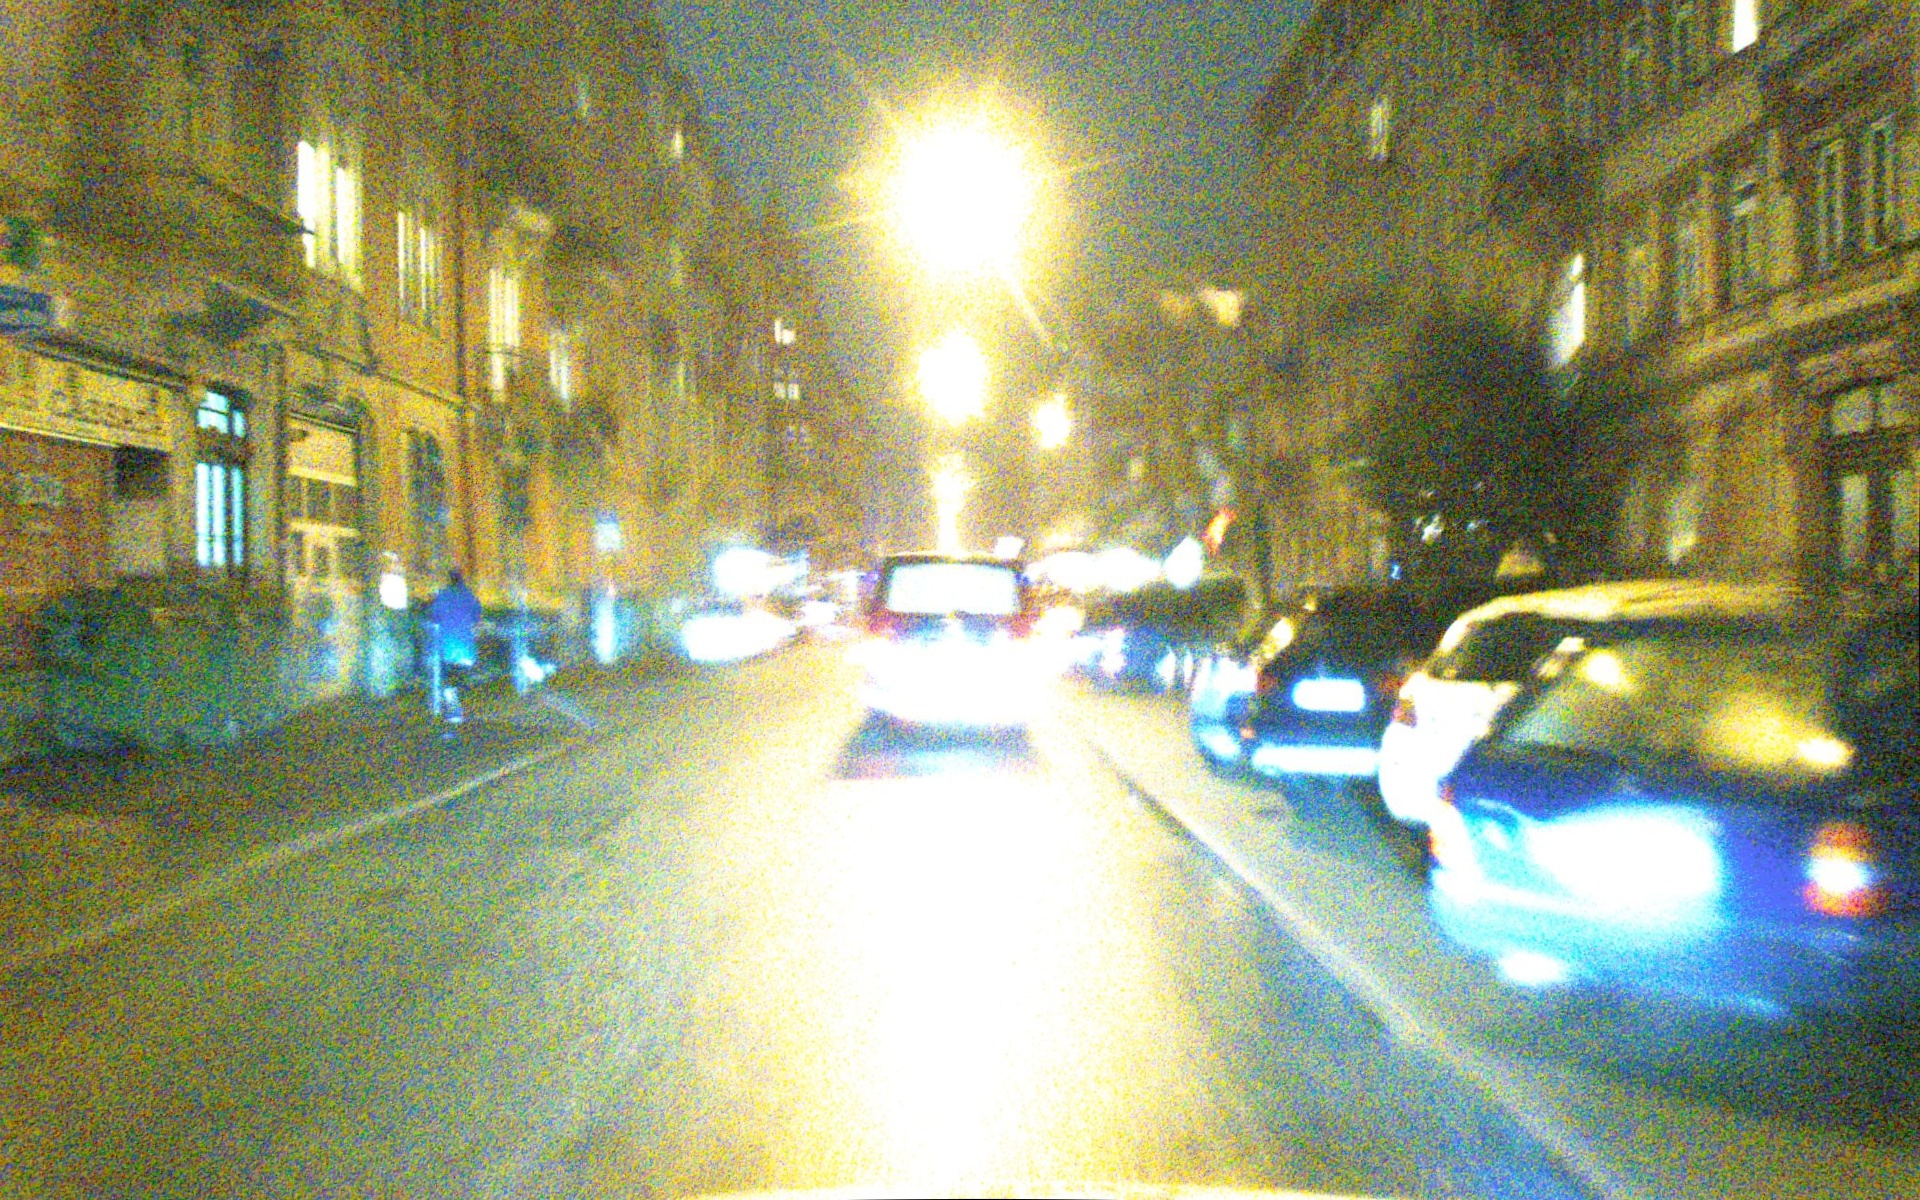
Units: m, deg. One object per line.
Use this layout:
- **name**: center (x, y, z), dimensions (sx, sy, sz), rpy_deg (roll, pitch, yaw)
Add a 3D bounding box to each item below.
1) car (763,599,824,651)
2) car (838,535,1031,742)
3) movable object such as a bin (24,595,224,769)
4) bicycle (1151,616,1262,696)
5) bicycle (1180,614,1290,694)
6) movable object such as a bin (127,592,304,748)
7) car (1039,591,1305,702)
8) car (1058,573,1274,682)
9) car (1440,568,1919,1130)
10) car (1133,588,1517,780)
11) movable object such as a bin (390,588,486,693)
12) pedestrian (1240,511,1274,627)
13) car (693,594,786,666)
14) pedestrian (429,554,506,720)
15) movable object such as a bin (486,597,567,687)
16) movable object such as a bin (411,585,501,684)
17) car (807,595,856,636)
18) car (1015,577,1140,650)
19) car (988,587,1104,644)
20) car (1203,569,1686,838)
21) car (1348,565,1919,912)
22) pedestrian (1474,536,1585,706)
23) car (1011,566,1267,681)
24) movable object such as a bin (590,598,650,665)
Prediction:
- **car**: center (-5.260, 0.766, 52.597), dimensions (1.777, 1.585, 4.073), rpy_deg (1, 0, -4)
- **car**: center (-0.274, 0.419, 18.711), dimensions (1.953, 2.086, 3.999), rpy_deg (0, -1, -1)
- **movable object such as a bin**: center (-7.340, 0.693, 14.585), dimensions (1.117, 1.444, 1.154), rpy_deg (2, 0, 2)
- **bicycle**: center (3.514, 0.786, 23.742), dimensions (0.513, 1.094, 1.808), rpy_deg (-2, 0, -31)
- **bicycle**: center (3.978, 0.766, 24.043), dimensions (0.513, 1.094, 1.808), rpy_deg (-2, 0, -31)
- **movable object such as a bin**: center (-7.330, 0.664, 16.351), dimensions (1.117, 1.444, 1.248), rpy_deg (2, 0, 2)
- **car**: center (3.403, 0.707, 26.461), dimensions (3.941, 1.519, 1.719), rpy_deg (-2, 0, -28)
- **car**: center (3.688, 0.469, 29.501), dimensions (3.516, 1.741, 1.630), rpy_deg (-2, 0, -30)
- **car**: center (3.601, 0.628, 6.052), dimensions (3.640, 1.486, 1.585), rpy_deg (-2, 0, -34)
- **car**: center (3.508, 0.733, 15.659), dimensions (3.613, 1.608, 1.572), rpy_deg (1, 0, -36)
- **movable object such as a bin**: center (-7.505, 0.573, 23.839), dimensions (0.954, 1.444, 1.133), rpy_deg (2, 0, 2)
- **pedestrian**: center (9.270, -0.966, 51.626), dimensions (0.873, 3.589, 0.791), rpy_deg (1, 0, -1)
- **car**: center (-4.894, 0.634, 37.114), dimensions (1.554, 1.508, 3.793), rpy_deg (1, 0, 0)
- **pedestrian**: center (-5.663, 0.420, 19.031), dimensions (0.579, 1.852, 0.794), rpy_deg (2, 0, -1)
- **movable object such as a bin**: center (-7.134, 0.676, 27.275), dimensions (0.954, 1.423, 1.133), rpy_deg (2, 0, 2)
- **movable object such as a bin**: center (-7.644, 0.508, 25.120), dimensions (0.954, 1.444, 1.133), rpy_deg (2, 0, 2)
- **car**: center (-5.569, 0.639, 71.899), dimensions (1.845, 1.714, 3.999), rpy_deg (1, 0, -1)
- **car**: center (3.537, 0.406, 49.460), dimensions (3.529, 2.025, 1.584), rpy_deg (-2, 0, -38)
- **car**: center (2.746, 0.453, 52.541), dimensions (3.529, 1.618, 1.585), rpy_deg (-2, 3, -38)
- **car**: center (3.505, 0.613, 11.682), dimensions (3.619, 1.608, 1.569), rpy_deg (0, 0, -40)
- **car**: center (4.063, 0.637, 9.253), dimensions (3.602, 1.608, 1.577), rpy_deg (0, 0, -29)
- **pedestrian**: center (6.616, 0.237, 19.271), dimensions (0.851, 1.888, 0.992), rpy_deg (-2, 0, -3)
- **car**: center (3.512, 0.404, 32.220), dimensions (4.737, 2.084, 2.045), rpy_deg (0, 0, -32)
- **movable object such as a bin**: center (-7.487, 0.686, 36.493), dimensions (1.026, 1.423, 1.158), rpy_deg (2, 0, 2)
